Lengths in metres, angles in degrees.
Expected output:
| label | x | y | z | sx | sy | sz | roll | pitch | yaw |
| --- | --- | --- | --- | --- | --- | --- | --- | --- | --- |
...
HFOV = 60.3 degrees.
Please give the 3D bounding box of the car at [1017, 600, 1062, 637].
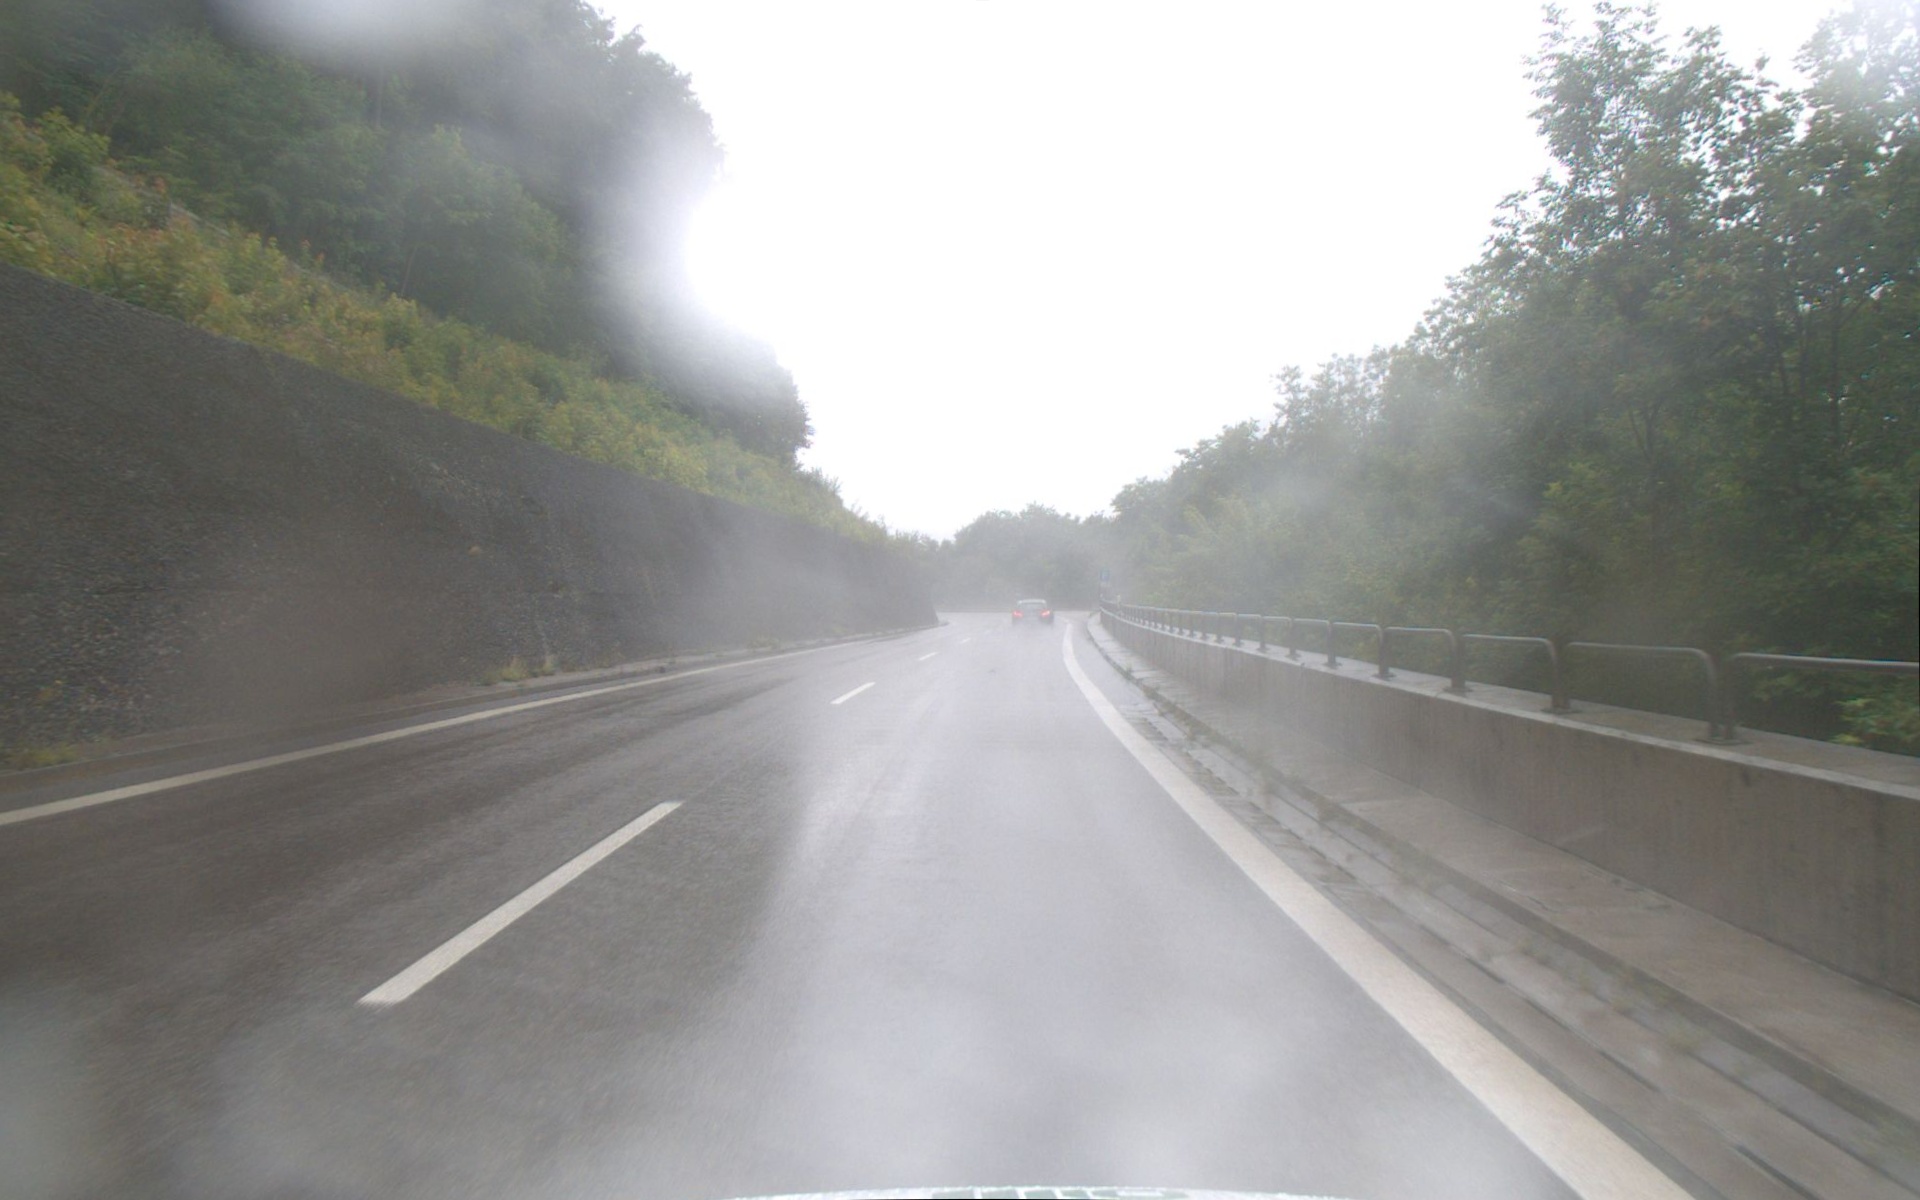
| label | x | y | z | sx | sy | sz | roll | pitch | yaw |
| --- | --- | --- | --- | --- | --- | --- | --- | --- | --- |
| car | 3.393 | 0.783 | 70.898 | 1.864 | 1.525 | 4.001 | -1 | 0 | 3 |
